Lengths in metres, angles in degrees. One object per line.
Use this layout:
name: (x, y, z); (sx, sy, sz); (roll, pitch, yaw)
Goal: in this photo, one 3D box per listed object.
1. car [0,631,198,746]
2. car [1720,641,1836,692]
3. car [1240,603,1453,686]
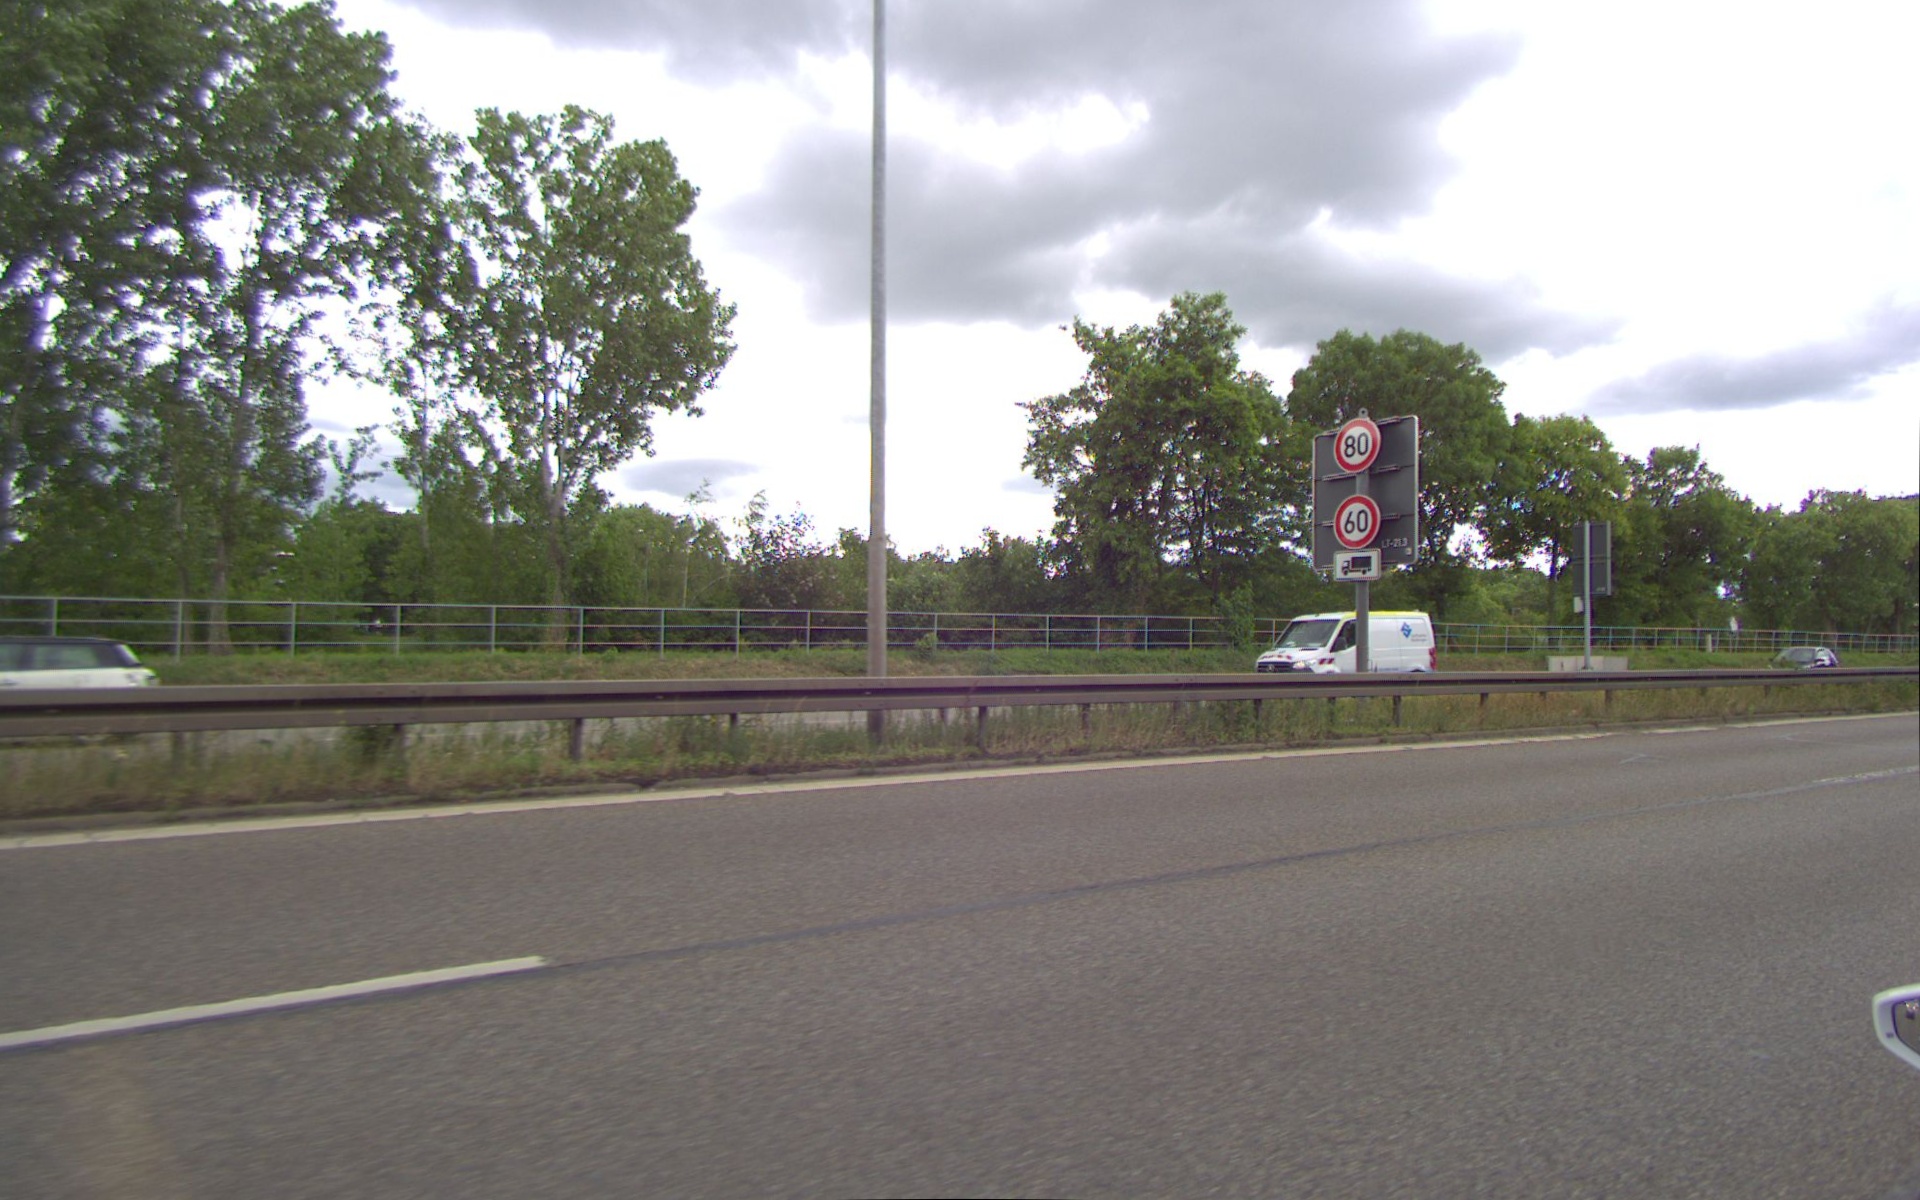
car: (-12.508, 1.115, 13.044); (3.942, 1.417, 1.651); (1, -2, -30)
car: (29.987, 2.387, 36.798); (4.094, 1.747, 1.871); (1, -1, -28)
car: (10.102, 1.170, 26.199); (5.406, 1.973, 2.217); (2, -3, -28)
